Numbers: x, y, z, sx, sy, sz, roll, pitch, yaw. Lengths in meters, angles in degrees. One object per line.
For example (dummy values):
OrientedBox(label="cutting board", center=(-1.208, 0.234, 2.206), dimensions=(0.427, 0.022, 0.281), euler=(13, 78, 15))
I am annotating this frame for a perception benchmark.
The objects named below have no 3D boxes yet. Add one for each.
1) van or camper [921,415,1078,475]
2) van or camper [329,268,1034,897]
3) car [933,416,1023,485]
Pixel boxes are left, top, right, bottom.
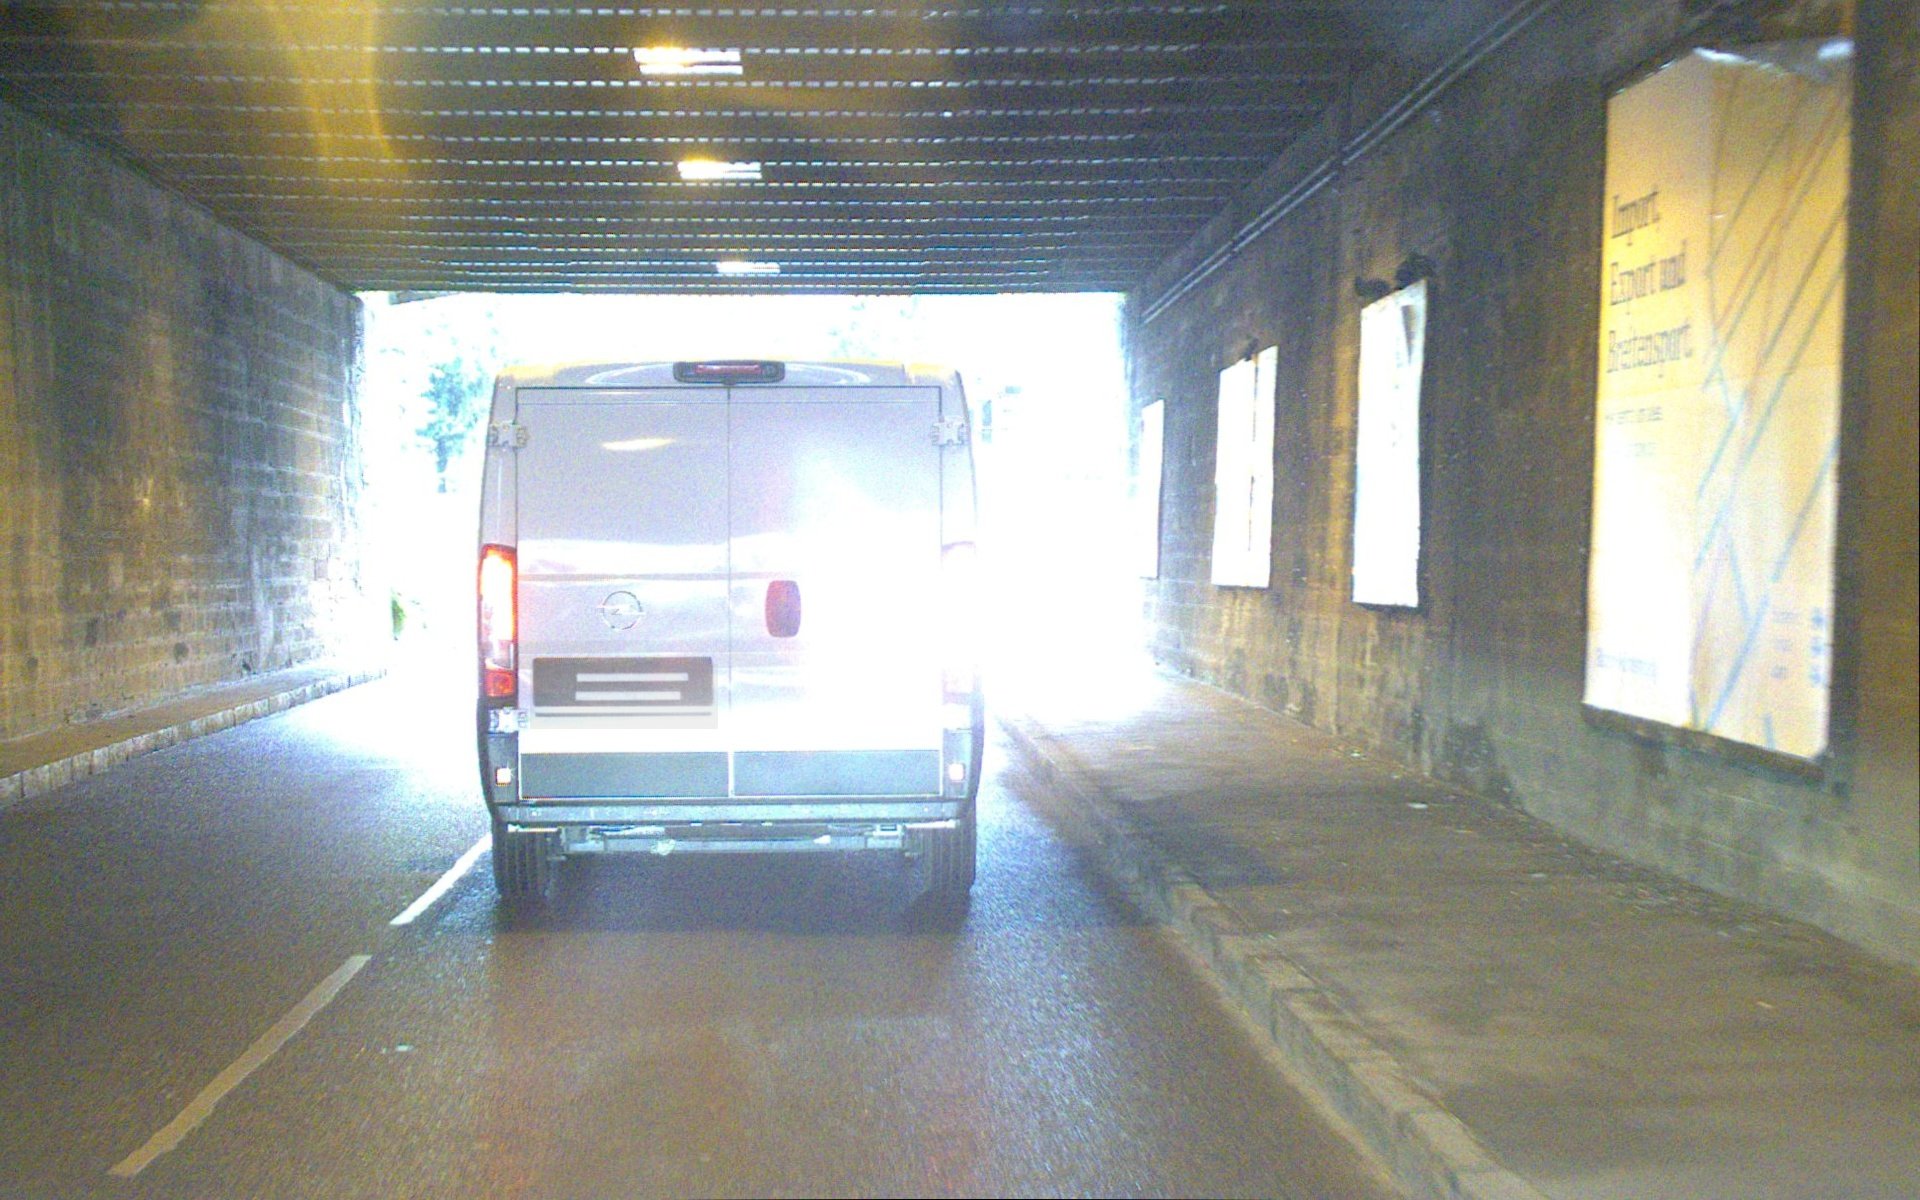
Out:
OrientedBox(label="van or camper", center=(1.399, -5.323, 118.648), dimensions=(5.309, 2.007, 2.078), euler=(0, 1, 4))
OrientedBox(label="van or camper", center=(-1.222, -0.058, 15.713), dimensions=(2.698, 2.408, 4.903), euler=(0, 0, -4))
OrientedBox(label="car", center=(0.491, -4.300, 99.418), dimensions=(1.993, 1.941, 4.001), euler=(0, 2, -9))
